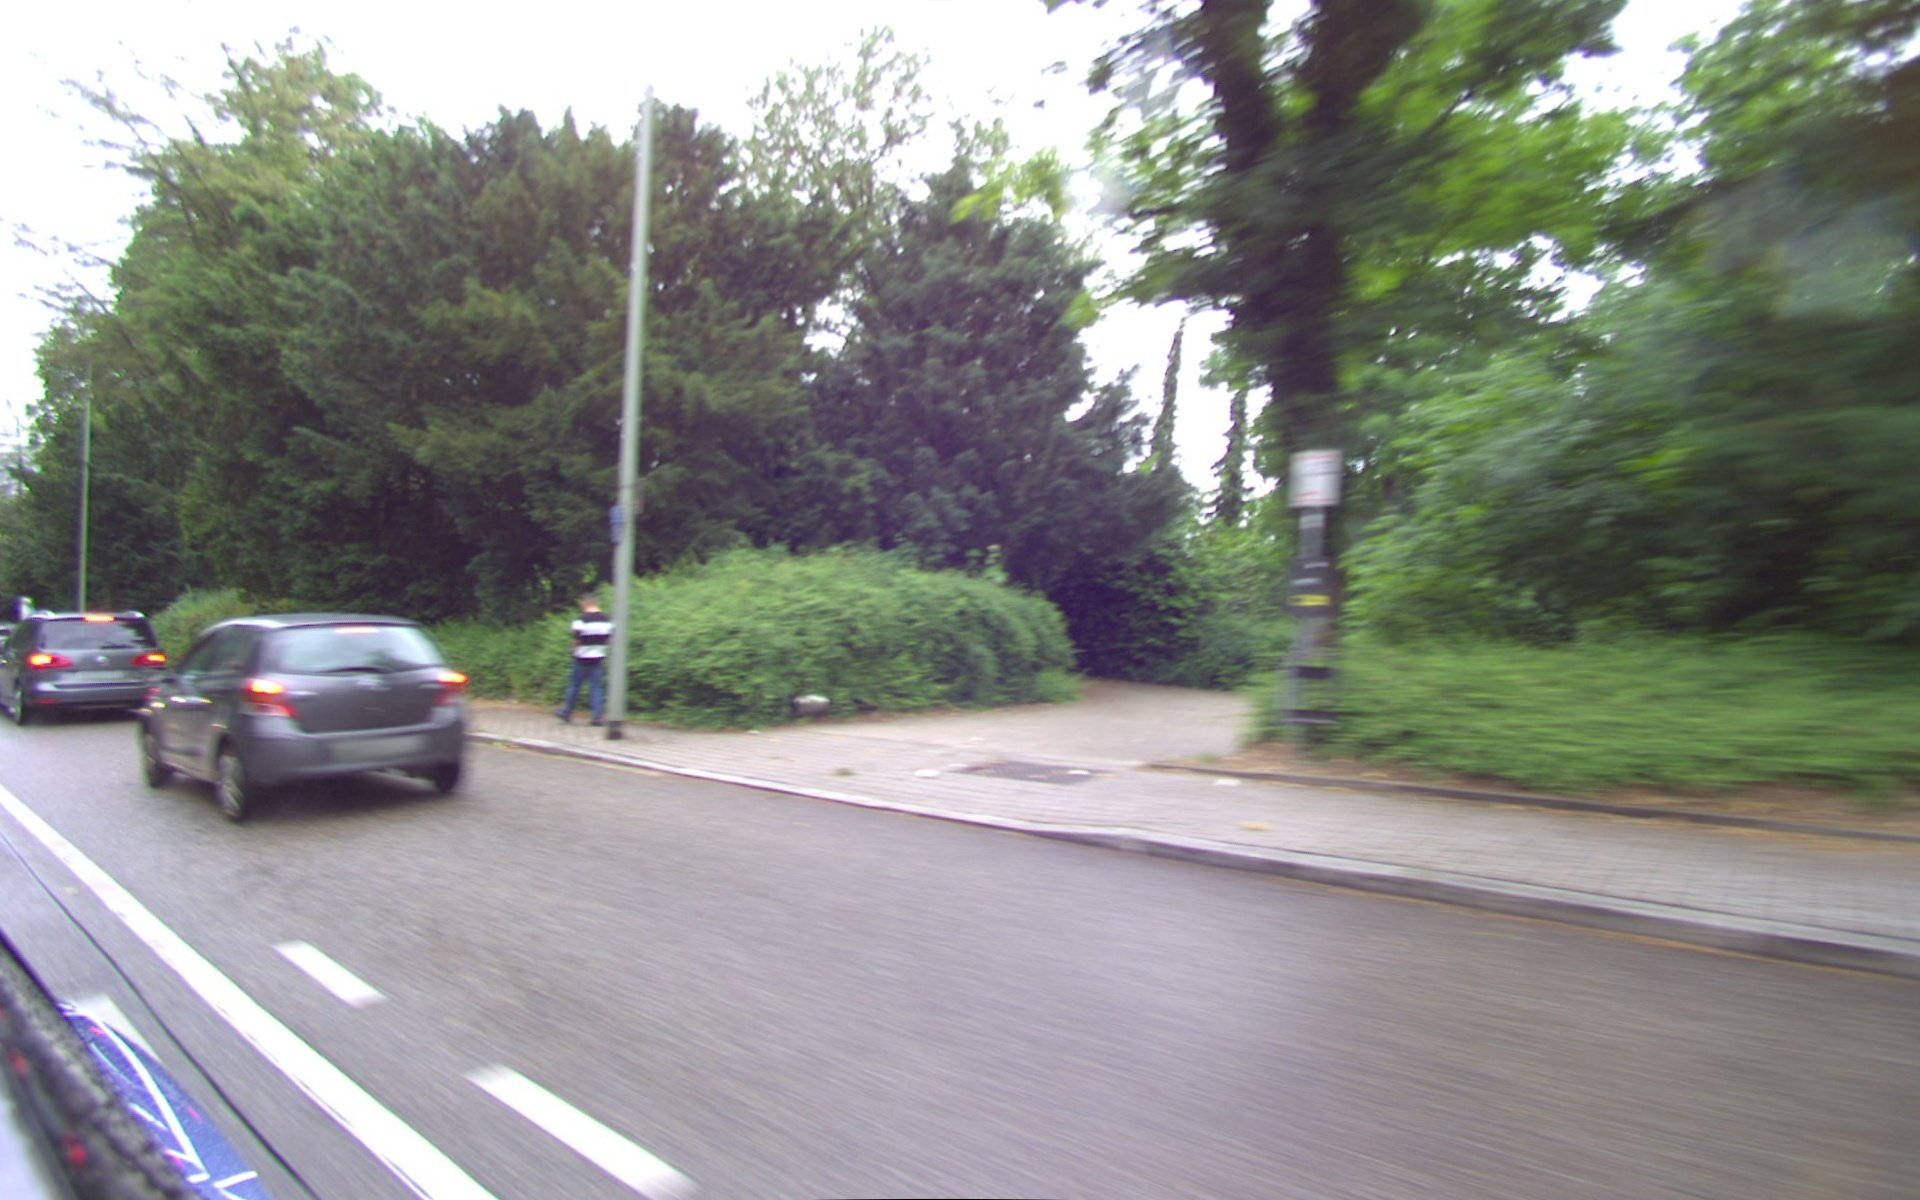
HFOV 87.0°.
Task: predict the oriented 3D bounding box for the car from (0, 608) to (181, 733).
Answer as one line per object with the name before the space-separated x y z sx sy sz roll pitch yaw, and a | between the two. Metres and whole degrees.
car | -13.956 1.025 15.952 3.996 1.724 1.812 -2 -1 39

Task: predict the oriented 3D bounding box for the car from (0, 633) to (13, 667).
car | -44.609 2.274 46.102 3.923 1.510 1.610 -2 0 39

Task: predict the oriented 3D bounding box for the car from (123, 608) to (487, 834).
car | -5.609 0.856 8.540 3.458 1.507 1.658 -2 -2 40

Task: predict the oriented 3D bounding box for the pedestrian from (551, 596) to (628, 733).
pedestrian | -4.698 0.797 12.835 0.697 1.657 0.714 1 -2 -43
